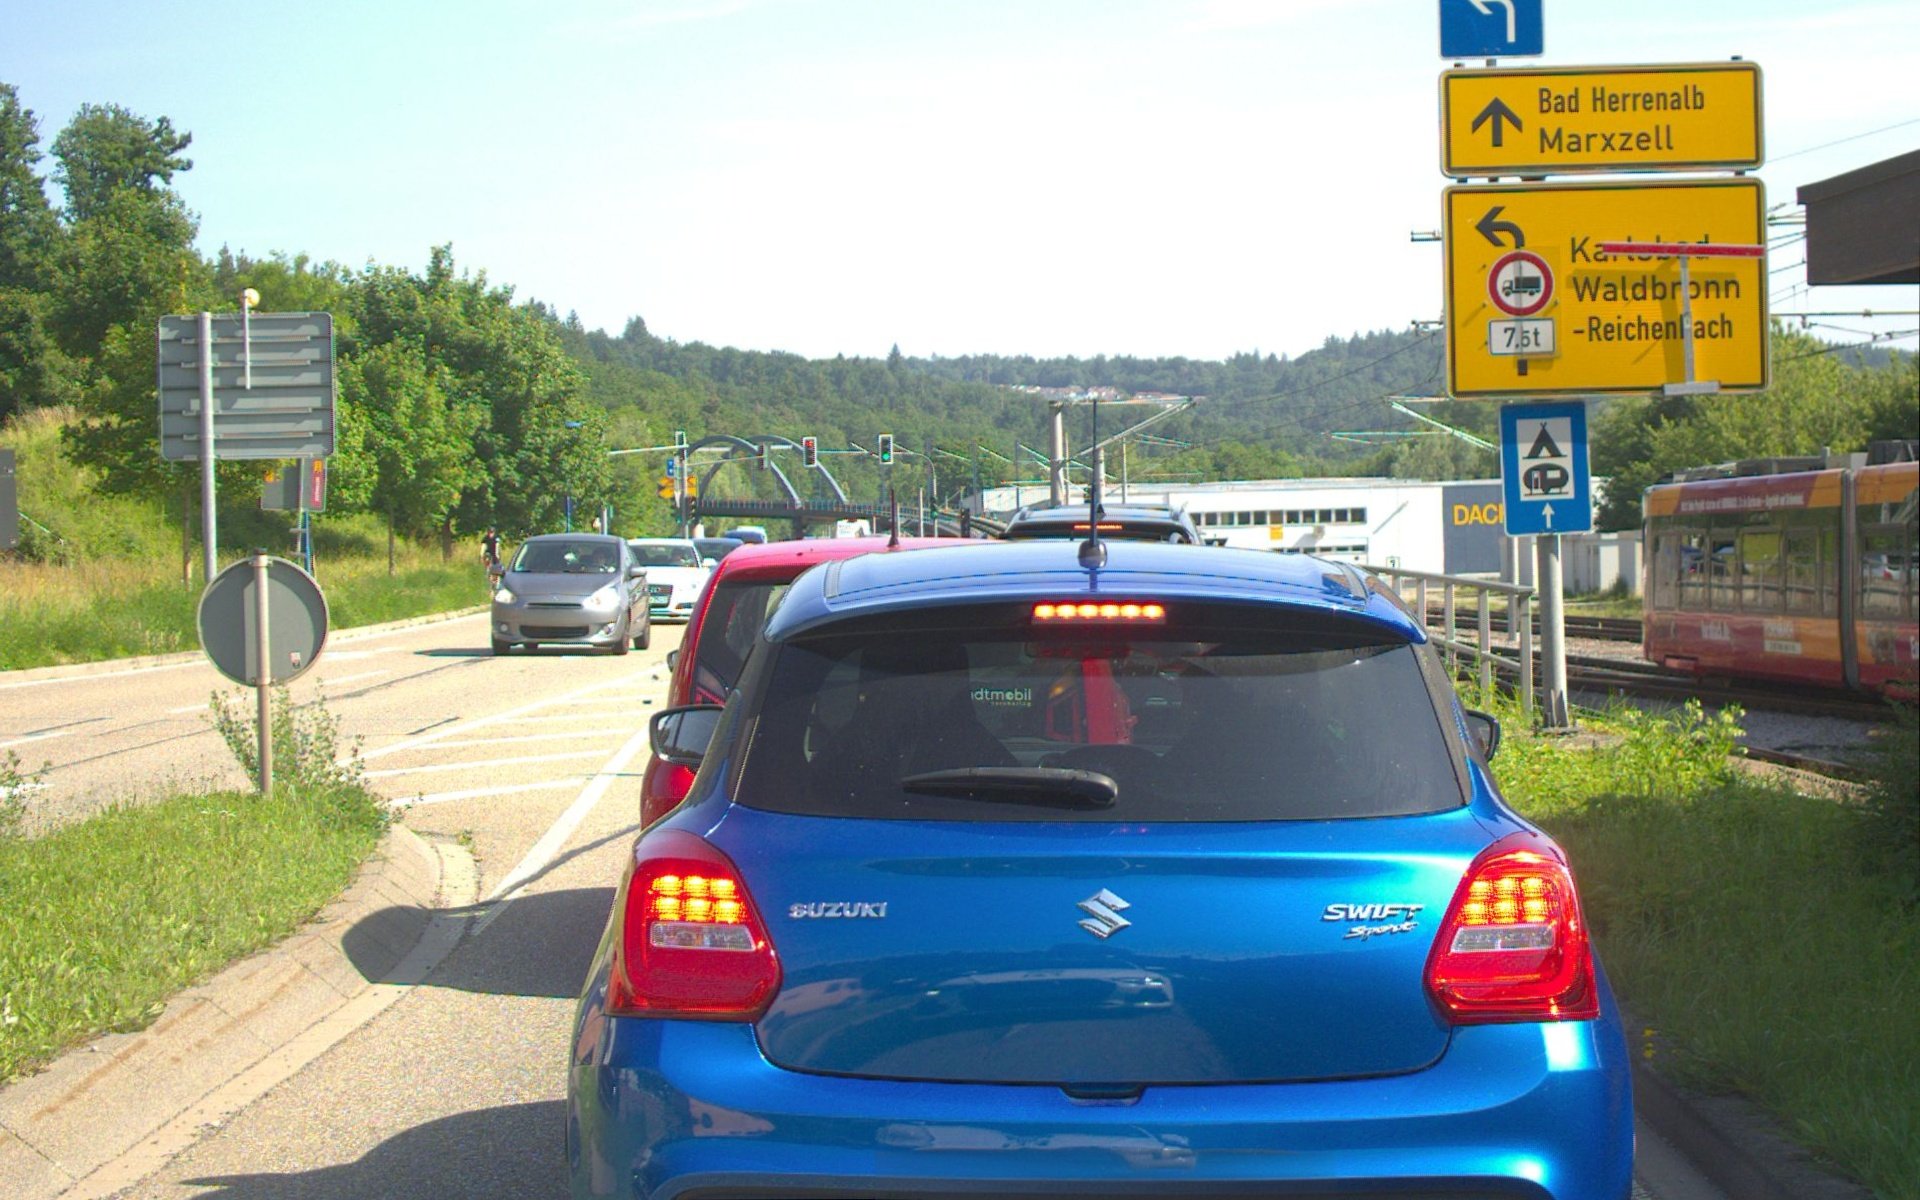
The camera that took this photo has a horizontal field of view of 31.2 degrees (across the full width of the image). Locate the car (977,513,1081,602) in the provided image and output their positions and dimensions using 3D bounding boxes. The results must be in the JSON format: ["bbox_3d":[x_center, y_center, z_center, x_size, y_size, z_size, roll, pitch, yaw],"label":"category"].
[{"bbox_3d":[1.285,-0.805,63.643,1.832,1.488,3.811,2,2,1],"label":"car"}]

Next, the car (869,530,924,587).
[{"bbox_3d":[-2.364,-1.573,128.992,1.993,2.006,4.001,2,2,-1],"label":"car"}]

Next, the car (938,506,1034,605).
[{"bbox_3d":[0.542,-1.001,75.507,1.993,2.006,4.001,2,2,-1],"label":"car"}]

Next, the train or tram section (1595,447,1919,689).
[{"bbox_3d":[12.836,-0.611,54.306,2.755,3.352,12.050,1,2,-3],"label":"train or tram section"}]

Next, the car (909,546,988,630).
[{"bbox_3d":[-0.325,-0.338,90.819,1.993,2.006,4.001,2,2,-1],"label":"car"}]

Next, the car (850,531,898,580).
[{"bbox_3d":[-3.806,-1.989,152.902,1.993,2.006,4.001,2,2,-1],"label":"car"}]

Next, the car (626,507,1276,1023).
[{"bbox_3d":[0.004,0.480,12.690,1.993,1.566,4.000,1,1,1],"label":"car"}]

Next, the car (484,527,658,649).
[{"bbox_3d":[-4.800,-0.168,42.828,1.672,1.436,3.840,1,1,1],"label":"car"}]

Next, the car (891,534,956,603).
[{"bbox_3d":[-1.160,-1.030,109.291,1.993,2.006,4.001,2,2,-1],"label":"car"}]

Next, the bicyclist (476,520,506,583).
[{"bbox_3d":[-11.300,-1.170,82.863,0.629,1.502,0.506,2,2,-3],"label":"bicyclist"}]

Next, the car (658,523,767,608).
[{"bbox_3d":[-5.010,-0.726,69.989,1.832,1.463,3.811,2,3,1],"label":"car"}]

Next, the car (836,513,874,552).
[{"bbox_3d":[-5.875,-3.764,192.578,1.993,2.137,4.720,1,1,-1],"label":"car"}]

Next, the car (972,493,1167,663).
[{"bbox_3d":[1.185,-0.278,38.089,1.993,1.730,4.000,2,1,1],"label":"car"}]

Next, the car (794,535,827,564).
[{"bbox_3d":[-9.819,-3.353,226.676,1.993,1.733,4.001,2,2,-1],"label":"car"}]

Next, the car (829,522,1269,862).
[{"bbox_3d":[0.444,0.368,17.957,1.993,1.526,4.602,-1,1,1],"label":"car"}]

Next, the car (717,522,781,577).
[{"bbox_3d":[-7.040,-1.695,114.983,1.832,1.707,3.811,2,2,1],"label":"car"}]

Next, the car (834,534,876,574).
[{"bbox_3d":[-5.268,-2.325,173.058,1.993,1.810,4.001,2,2,-1],"label":"car"}]

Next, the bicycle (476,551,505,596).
[{"bbox_3d":[-11.315,-0.643,82.888,0.566,1.039,1.552,2,2,-3],"label":"bicycle"}]

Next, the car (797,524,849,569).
[{"bbox_3d":[-5.573,-2.181,140.188,1.993,1.777,4.000,1,1,-1],"label":"car"}]

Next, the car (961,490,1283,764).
[{"bbox_3d":[1.062,0.117,24.039,1.993,1.681,4.497,2,1,1],"label":"car"}]

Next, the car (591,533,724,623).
[{"bbox_3d":[-5.087,-0.392,58.231,1.832,1.364,3.950,1,2,1],"label":"car"}]

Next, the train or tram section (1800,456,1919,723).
[{"bbox_3d":[13.514,-0.088,42.388,2.786,3.353,12.049,1,1,-3],"label":"train or tram section"}]

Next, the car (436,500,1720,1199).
[{"bbox_3d":[0.126,0.587,7.020,1.868,1.543,4.000,0,1,-1],"label":"car"}]
